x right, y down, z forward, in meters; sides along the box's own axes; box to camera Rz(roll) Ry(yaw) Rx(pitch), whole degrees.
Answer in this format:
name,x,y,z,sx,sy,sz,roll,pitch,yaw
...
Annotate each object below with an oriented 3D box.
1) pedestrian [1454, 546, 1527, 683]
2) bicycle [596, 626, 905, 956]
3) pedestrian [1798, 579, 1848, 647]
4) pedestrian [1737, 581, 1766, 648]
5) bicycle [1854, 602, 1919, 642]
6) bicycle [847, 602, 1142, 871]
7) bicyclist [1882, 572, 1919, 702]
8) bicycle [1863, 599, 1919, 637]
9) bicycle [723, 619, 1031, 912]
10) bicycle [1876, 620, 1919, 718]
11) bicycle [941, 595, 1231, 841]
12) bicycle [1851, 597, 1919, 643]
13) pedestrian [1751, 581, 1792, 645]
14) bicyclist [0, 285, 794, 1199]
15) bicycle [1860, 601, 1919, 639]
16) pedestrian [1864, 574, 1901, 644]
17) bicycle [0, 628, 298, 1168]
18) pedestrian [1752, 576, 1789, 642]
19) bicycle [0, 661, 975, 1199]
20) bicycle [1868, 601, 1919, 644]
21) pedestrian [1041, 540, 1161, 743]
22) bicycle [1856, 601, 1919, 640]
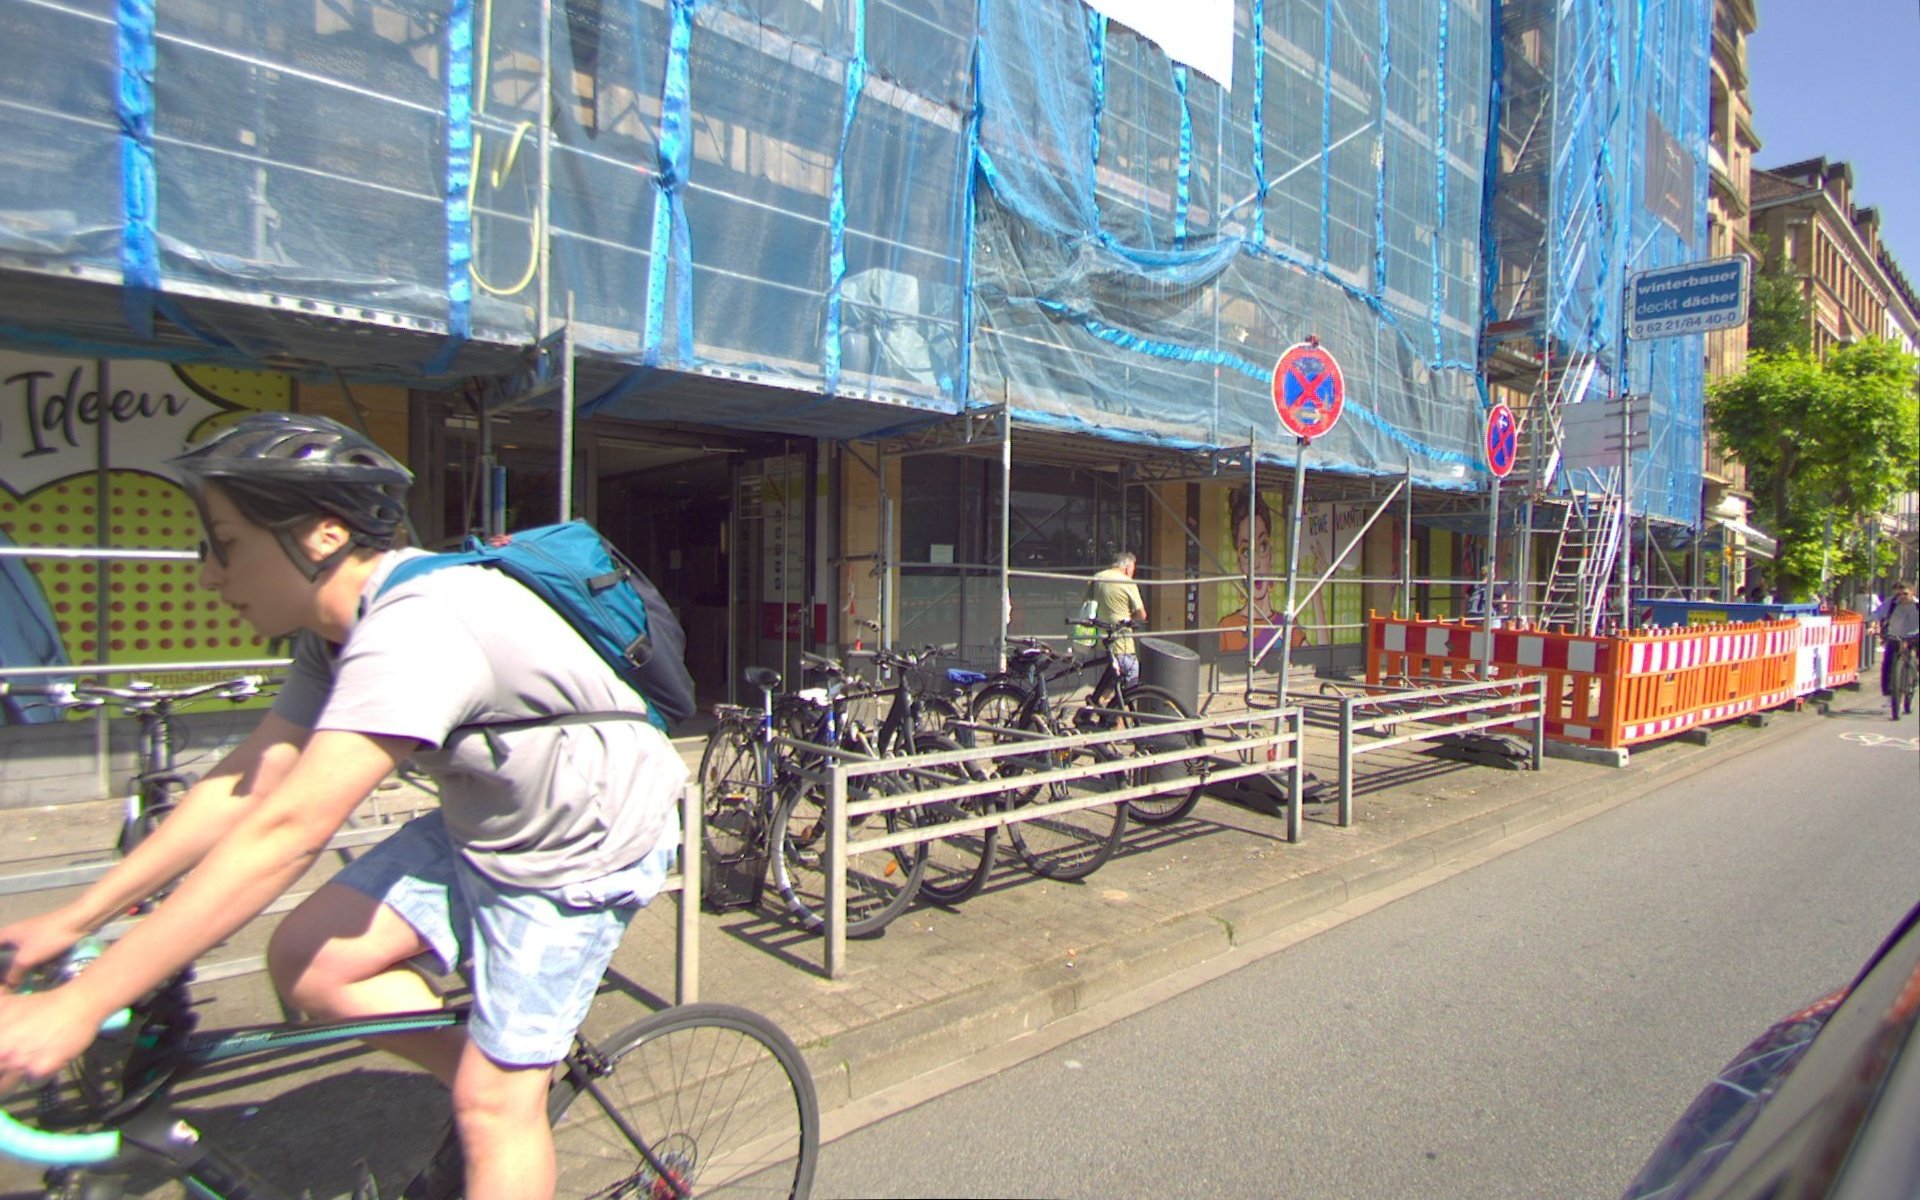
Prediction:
name,x,y,z,sx,sy,sz,roll,pitch,yaw
pedestrian,7.194,0.188,13.726,0.638,1.799,0.640,-1,-1,-40
bicycle,-0.985,0.693,4.416,0.598,1.111,1.697,-1,0,-39
pedestrian,24.787,0.357,29.067,0.874,1.871,0.818,-1,3,-33
pedestrian,20.535,0.373,26.264,0.467,1.703,0.383,0,2,-23
bicycle,25.397,0.588,27.386,0.547,1.031,1.755,-1,1,-42
bicycle,0.115,0.612,5.386,0.598,1.193,1.697,-1,0,-39
bicyclist,12.157,0.453,12.732,0.765,1.596,0.750,-1,1,-41
bicycle,26.828,0.510,28.716,0.474,1.031,1.755,-1,1,-42
bicycle,-0.467,0.665,4.821,0.598,1.111,1.697,-1,0,-39
bicycle,12.140,0.846,12.727,1.865,1.106,0.735,-1,1,-42
bicycle,0.654,0.574,5.786,0.598,1.193,1.697,-1,0,-39
bicycle,24.893,0.520,26.895,0.569,1.196,1.755,-1,1,-42
pedestrian,23.489,0.368,29.284,0.966,1.803,0.670,-1,2,-36
bicyclist,-0.936,0.405,1.594,1.123,1.481,0.689,-1,-1,-42
bicycle,26.354,0.545,28.281,0.474,1.031,1.755,-1,1,-42
pedestrian,22.979,0.205,25.208,0.643,1.704,0.657,-2,2,-45
bicycle,-2.461,0.675,3.048,0.598,1.123,1.742,-1,0,-39
pedestrian,21.199,0.226,26.480,0.526,1.703,0.501,0,3,-22
bicycle,-0.998,0.715,1.516,2.094,1.107,0.735,-1,0,-42
bicycle,24.211,0.555,25.868,0.647,1.031,1.753,0,1,10
pedestrian,1.197,0.331,8.582,0.752,1.621,0.644,-1,-1,-43
bicycle,25.874,0.562,27.856,0.577,1.030,1.755,-1,2,-42
